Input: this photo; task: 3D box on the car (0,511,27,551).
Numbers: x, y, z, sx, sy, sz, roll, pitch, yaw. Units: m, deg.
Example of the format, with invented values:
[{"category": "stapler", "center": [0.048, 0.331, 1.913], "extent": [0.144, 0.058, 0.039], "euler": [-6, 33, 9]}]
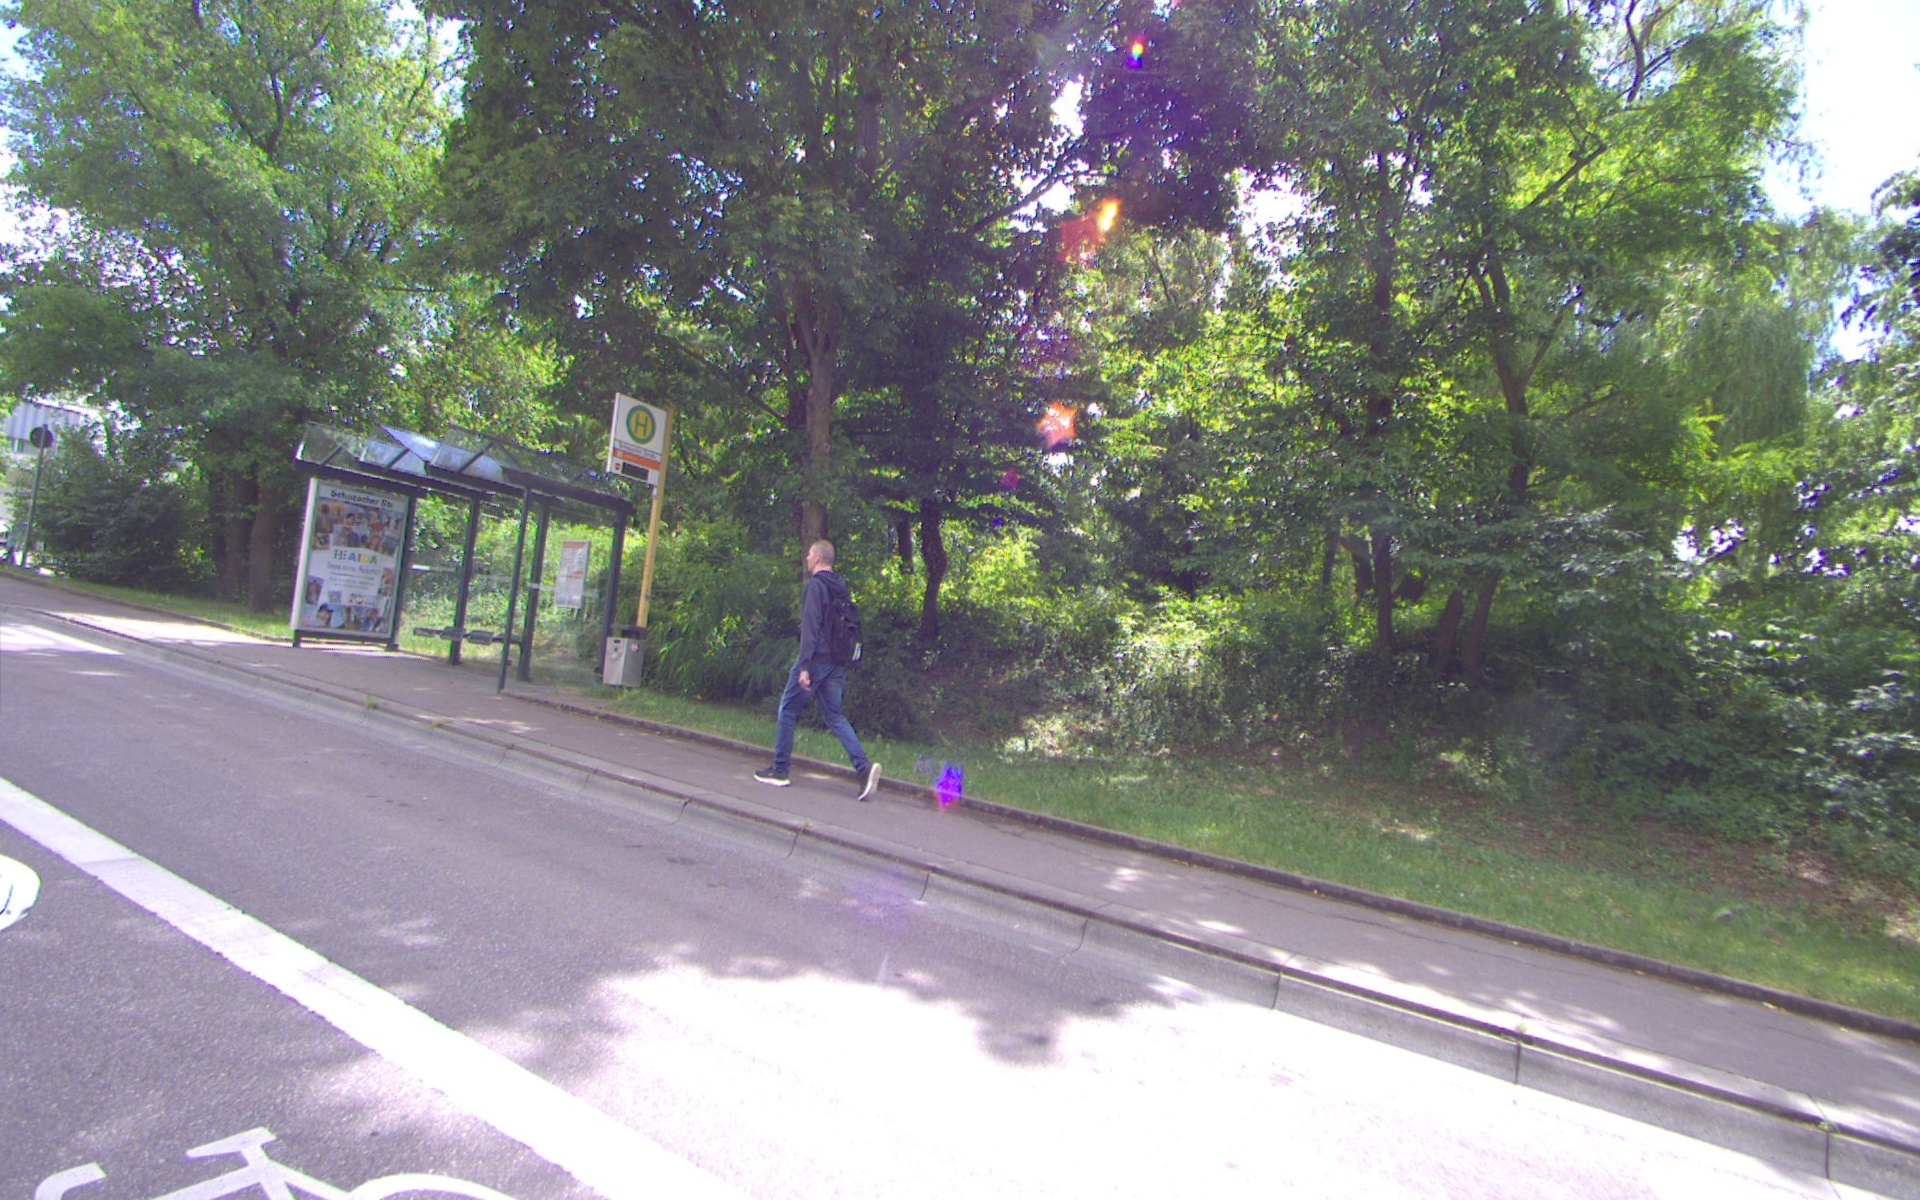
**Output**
[{"category": "car", "center": [-40.845, -3.097, 40.272], "extent": [1.964, 1.497, 4.654], "euler": [7, -2, 25]}]

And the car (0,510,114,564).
[{"category": "car", "center": [-37.008, -2.561, 40.865], "extent": [1.679, 1.619, 3.592], "euler": [7, -2, 20]}]

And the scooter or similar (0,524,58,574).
[{"category": "scooter or similar", "center": [-23.767, -1.284, 25.602], "extent": [0.325, 1.112, 1.153], "euler": [7, -2, 9]}]

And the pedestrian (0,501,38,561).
[{"category": "pedestrian", "center": [-30.165, -2.199, 32.248], "extent": [0.612, 1.808, 0.562], "euler": [12, -5, -40]}]

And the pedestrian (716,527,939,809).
[{"category": "pedestrian", "center": [-1.011, 0.489, 7.687], "extent": [1.250, 1.917, 0.802], "euler": [7, -1, 33]}]
